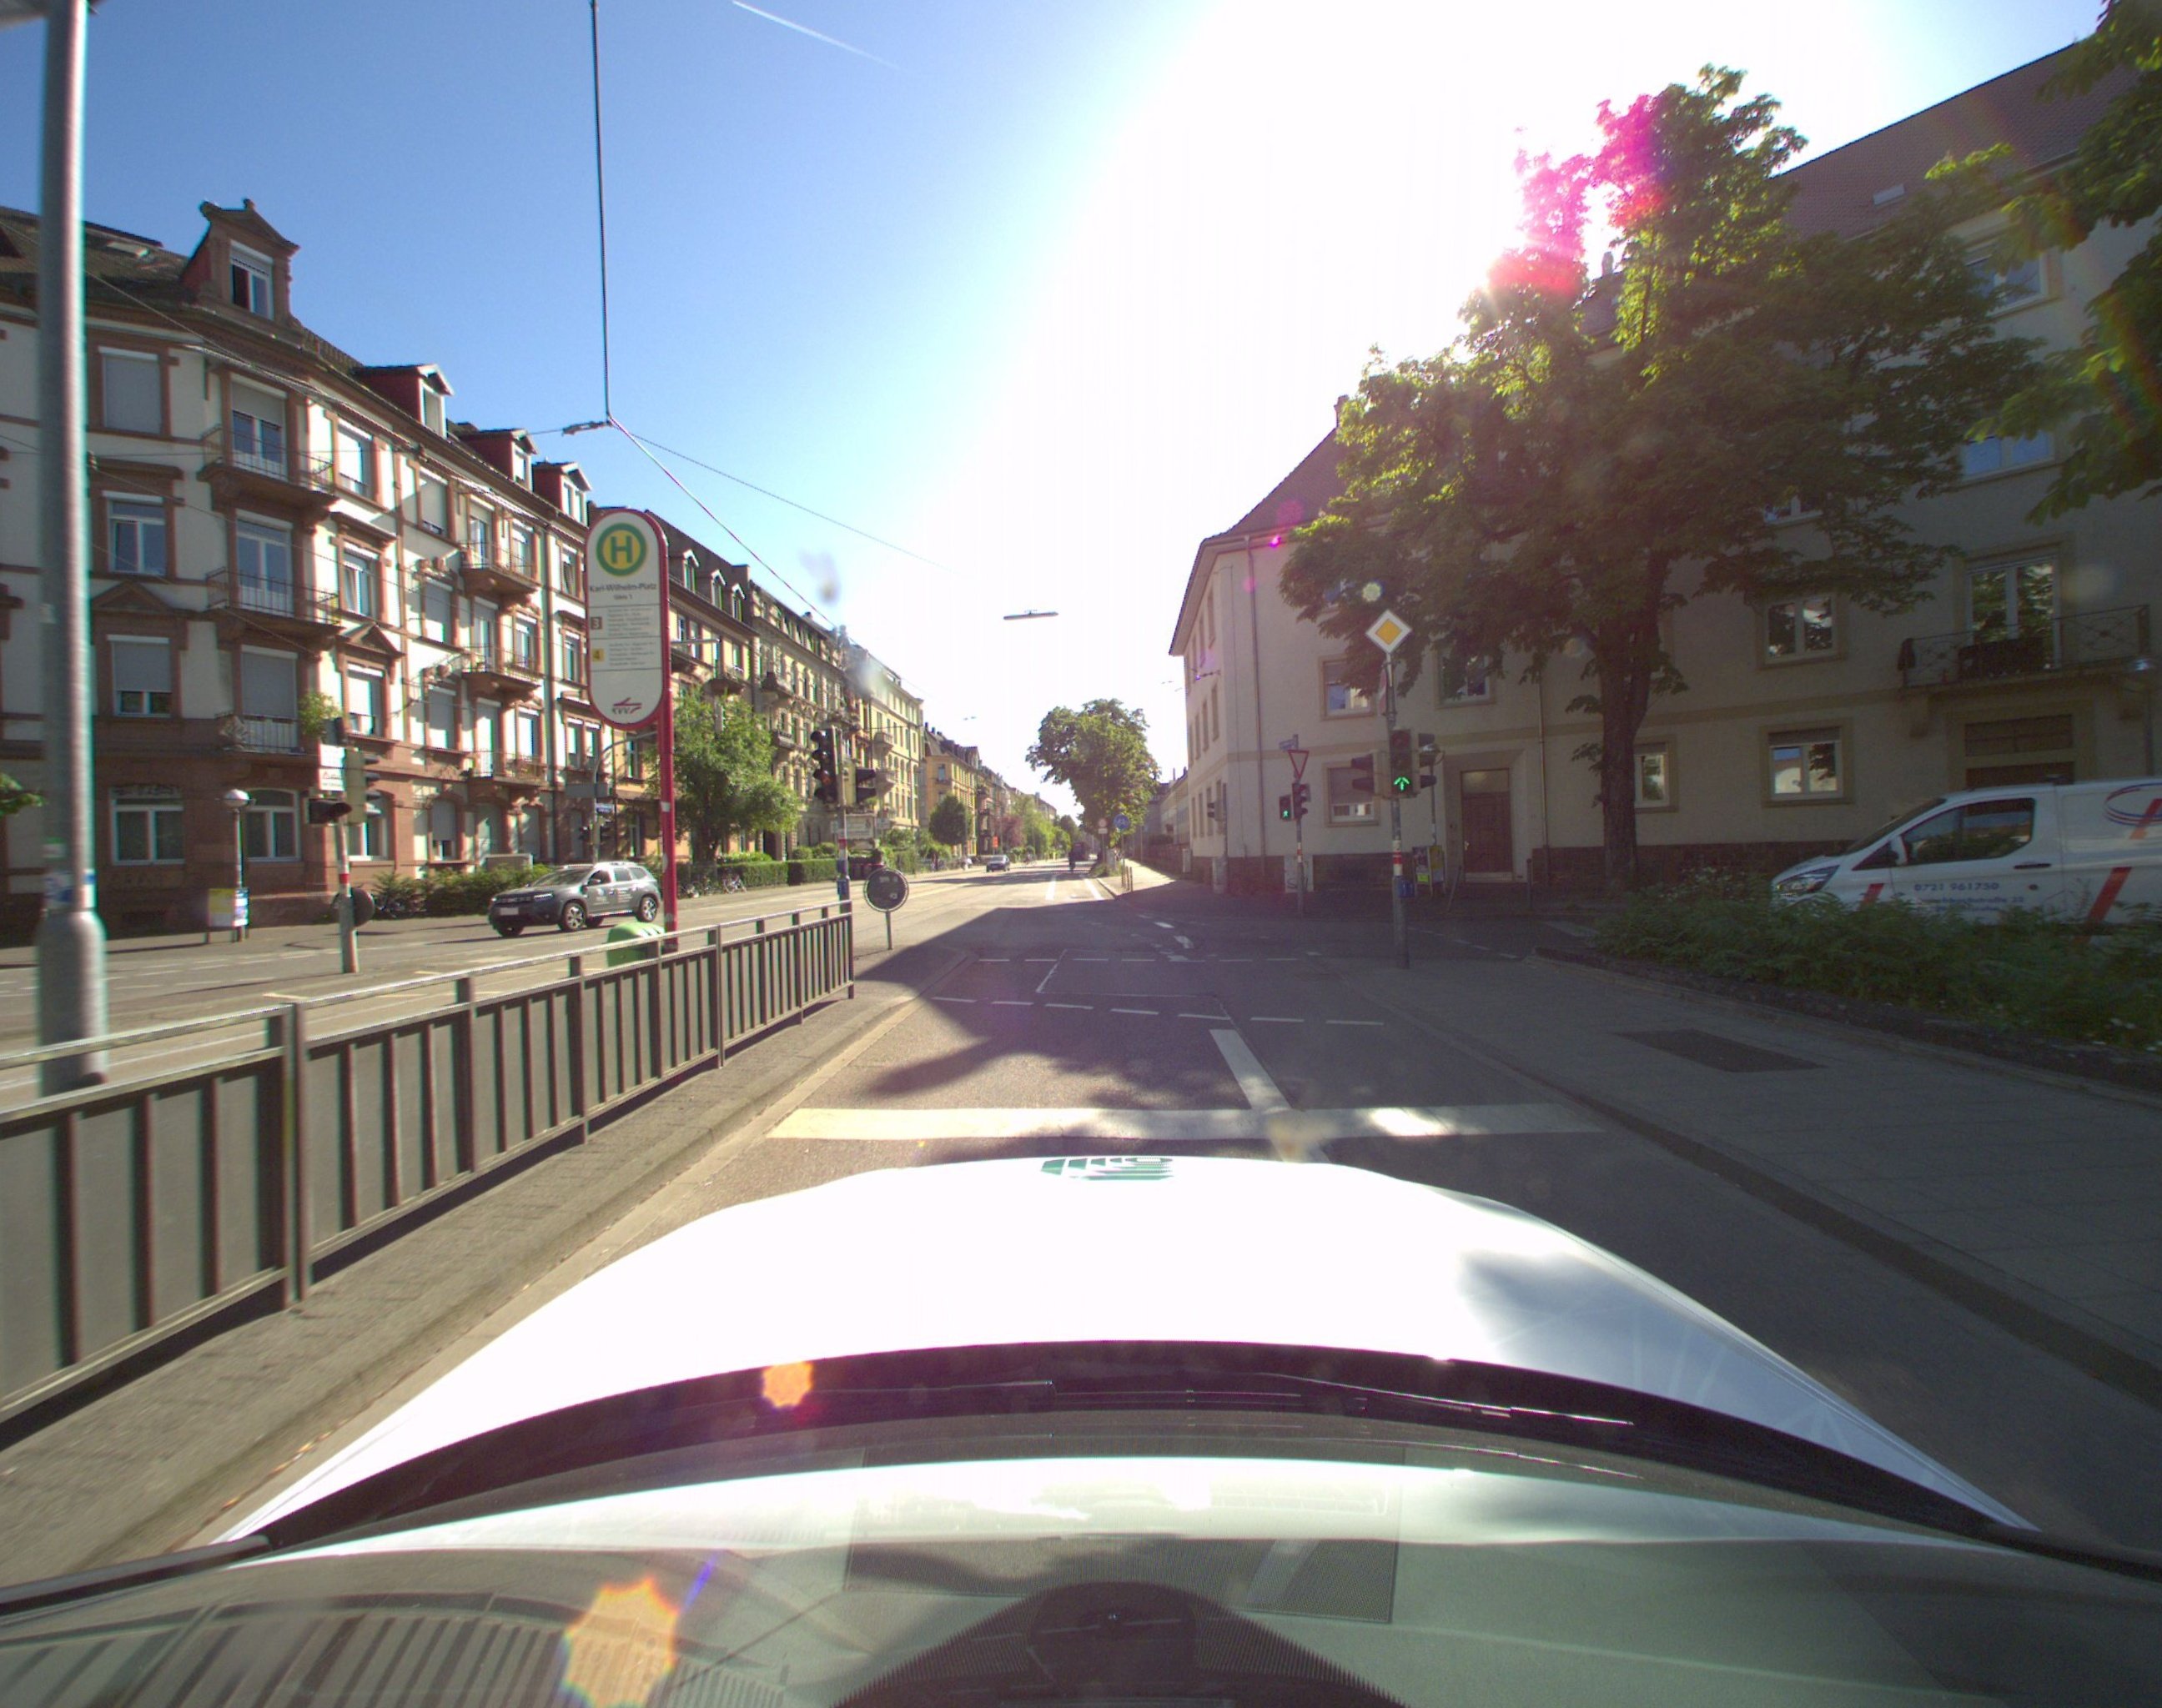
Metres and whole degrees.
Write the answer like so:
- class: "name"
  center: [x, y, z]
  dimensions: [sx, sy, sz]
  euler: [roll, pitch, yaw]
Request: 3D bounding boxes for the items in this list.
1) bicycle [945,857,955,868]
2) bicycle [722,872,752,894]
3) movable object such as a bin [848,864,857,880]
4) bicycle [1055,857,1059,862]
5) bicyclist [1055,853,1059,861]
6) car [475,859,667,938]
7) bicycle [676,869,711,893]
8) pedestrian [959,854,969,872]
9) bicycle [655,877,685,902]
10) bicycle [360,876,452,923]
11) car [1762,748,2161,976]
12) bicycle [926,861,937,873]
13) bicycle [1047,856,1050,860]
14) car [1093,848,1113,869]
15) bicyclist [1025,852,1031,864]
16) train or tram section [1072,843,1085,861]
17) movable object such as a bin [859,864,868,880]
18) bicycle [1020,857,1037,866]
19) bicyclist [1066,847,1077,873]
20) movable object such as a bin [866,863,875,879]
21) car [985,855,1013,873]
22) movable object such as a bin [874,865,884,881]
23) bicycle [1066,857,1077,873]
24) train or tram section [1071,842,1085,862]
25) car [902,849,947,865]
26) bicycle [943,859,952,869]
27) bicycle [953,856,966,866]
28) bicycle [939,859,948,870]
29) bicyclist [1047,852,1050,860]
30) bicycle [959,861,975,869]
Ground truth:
- class: "bicycle"
  center: [-13.374, 0.885, 83.045]
  dimensions: [0.565, 1.033, 1.754]
  euler: [2, 0, -22]
- class: "bicycle"
  center: [-15.911, 1.340, 37.716]
  dimensions: [0.340, 0.926, 1.946]
  euler: [-1, 0, 7]
- class: "movable object such as a bin"
  center: [-15.604, 1.237, 55.620]
  dimensions: [0.477, 1.086, 0.542]
  euler: [-1, 0, 3]
- class: "bicycle"
  center: [-5.617, 1.330, 191.403]
  dimensions: [0.689, 1.112, 1.719]
  euler: [-3, 0, 2]
- class: "bicyclist"
  center: [-5.627, 0.760, 191.278]
  dimensions: [0.658, 1.801, 0.616]
  euler: [-4, -1, 2]
- class: "car"
  center: [-12.405, 1.006, 20.205]
  dimensions: [1.890, 1.618, 4.267]
  euler: [-4, 0, 2]
- class: "bicycle"
  center: [-16.493, 1.129, 34.721]
  dimensions: [0.340, 0.926, 1.946]
  euler: [-1, 0, 7]
- class: "pedestrian"
  center: [-11.857, 0.909, 82.691]
  dimensions: [0.826, 1.724, 1.082]
  euler: [0, -1, 1]
- class: "bicycle"
  center: [-16.554, 1.423, 32.814]
  dimensions: [0.340, 0.926, 1.455]
  euler: [-1, 0, 7]
- class: "bicycle"
  center: [-20.124, 1.338, 24.316]
  dimensions: [0.415, 1.296, 2.058]
  euler: [-1, 0, 44]
- class: "car"
  center: [10.187, 0.067, 8.393]
  dimensions: [1.697, 2.092, 4.699]
  euler: [0, 0, -44]
- class: "bicycle"
  center: [-13.503, 1.182, 73.753]
  dimensions: [0.561, 1.033, 1.769]
  euler: [0, 1, 3]
- class: "bicycle"
  center: [-6.550, 0.802, 165.071]
  dimensions: [0.458, 0.926, 2.204]
  euler: [-3, 0, 2]
- class: "car"
  center: [1.908, 0.363, 71.026]
  dimensions: [1.737, 1.766, 4.479]
  euler: [-1, 0, 1]
- class: "bicyclist"
  center: [-6.698, 0.495, 103.656]
  dimensions: [0.616, 1.468, 0.633]
  euler: [0, 0, -20]
- class: "train or tram section"
  center: [-0.512, -0.378, 154.693]
  dimensions: [2.145, 3.431, 6.614]
  euler: [-1, 0, 2]
- class: "movable object such as a bin"
  center: [-14.855, 1.207, 55.620]
  dimensions: [0.477, 1.086, 0.542]
  euler: [-1, 0, 3]
- class: "bicycle"
  center: [-6.683, 0.962, 103.662]
  dimensions: [1.918, 1.112, 0.689]
  euler: [-1, 0, -21]
- class: "bicyclist"
  center: [-0.703, 0.429, 59.214]
  dimensions: [0.725, 1.848, 0.837]
  euler: [-1, 0, 1]
- class: "movable object such as a bin"
  center: [-14.604, 1.199, 56.436]
  dimensions: [0.477, 1.086, 0.542]
  euler: [-1, 0, 3]
- class: "car"
  center: [-7.404, 0.886, 74.122]
  dimensions: [1.825, 1.518, 4.970]
  euler: [0, 0, 2]
- class: "movable object such as a bin"
  center: [-13.976, 1.282, 56.302]
  dimensions: [0.477, 1.086, 0.542]
  euler: [-1, 0, 3]
- class: "bicycle"
  center: [-0.663, 0.793, 59.103]
  dimensions: [0.689, 1.112, 1.719]
  euler: [-1, 0, 2]
- class: "train or tram section"
  center: [-0.498, -0.359, 148.033]
  dimensions: [2.145, 3.431, 6.614]
  euler: [-1, 0, 2]
- class: "car"
  center: [-17.307, 0.315, 90.129]
  dimensions: [4.425, 1.643, 1.969]
  euler: [-1, 0, 4]
- class: "bicycle"
  center: [-13.199, 0.976, 80.485]
  dimensions: [0.561, 1.033, 1.768]
  euler: [0, 0, 1]
- class: "bicycle"
  center: [-12.718, 0.708, 85.133]
  dimensions: [0.567, 1.033, 1.749]
  euler: [-1, 1, -34]
- class: "bicycle"
  center: [-13.139, 1.018, 77.887]
  dimensions: [0.561, 1.033, 1.768]
  euler: [0, 0, 1]
- class: "bicyclist"
  center: [-6.575, 0.443, 165.020]
  dimensions: [0.462, 1.618, 0.745]
  euler: [-4, 0, 2]
- class: "bicycle"
  center: [-13.914, 1.328, 99.199]
  dimensions: [1.795, 0.914, 0.614]
  euler: [-1, -2, -34]
